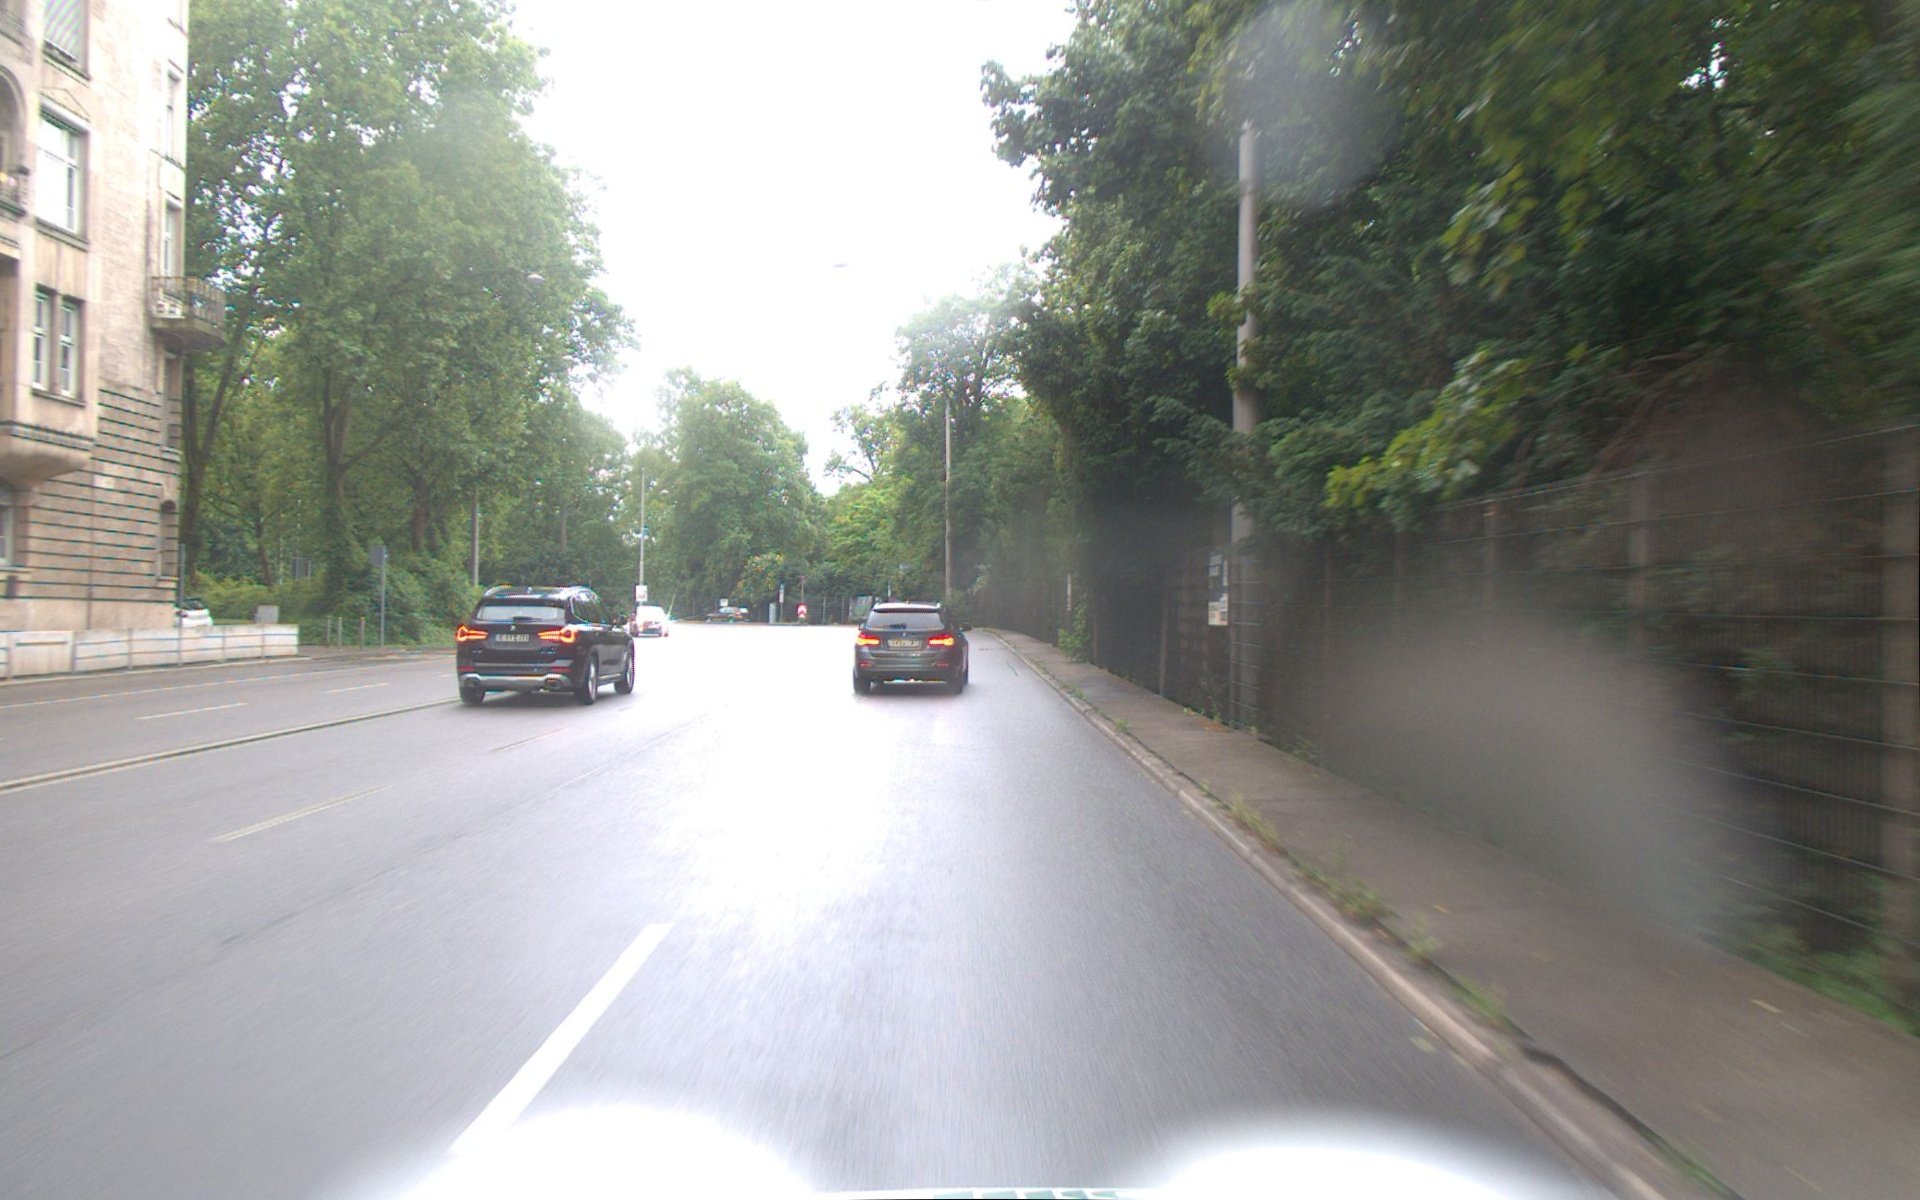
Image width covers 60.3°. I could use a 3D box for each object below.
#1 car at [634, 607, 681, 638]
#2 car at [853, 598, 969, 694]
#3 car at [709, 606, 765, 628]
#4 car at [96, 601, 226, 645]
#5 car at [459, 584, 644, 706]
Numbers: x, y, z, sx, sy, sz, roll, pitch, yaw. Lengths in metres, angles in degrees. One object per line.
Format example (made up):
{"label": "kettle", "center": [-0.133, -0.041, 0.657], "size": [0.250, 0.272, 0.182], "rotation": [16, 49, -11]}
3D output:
{"label": "car", "center": [-14.728, 1.086, 80.653], "size": [1.547, 1.439, 3.961], "rotation": [0, 0, 0]}
{"label": "car", "center": [-0.752, 0.727, 28.004], "size": [1.721, 1.457, 4.413], "rotation": [1, 0, 1]}
{"label": "car", "center": [-16.410, 1.239, 121.601], "size": [4.294, 1.451, 1.682], "rotation": [0, -4, 43]}
{"label": "car", "center": [-26.085, 0.747, 54.031], "size": [3.419, 1.400, 1.780], "rotation": [0, 1, 9]}
{"label": "car", "center": [-5.965, 0.625, 24.661], "size": [1.722, 1.613, 4.411], "rotation": [1, 0, -2]}
